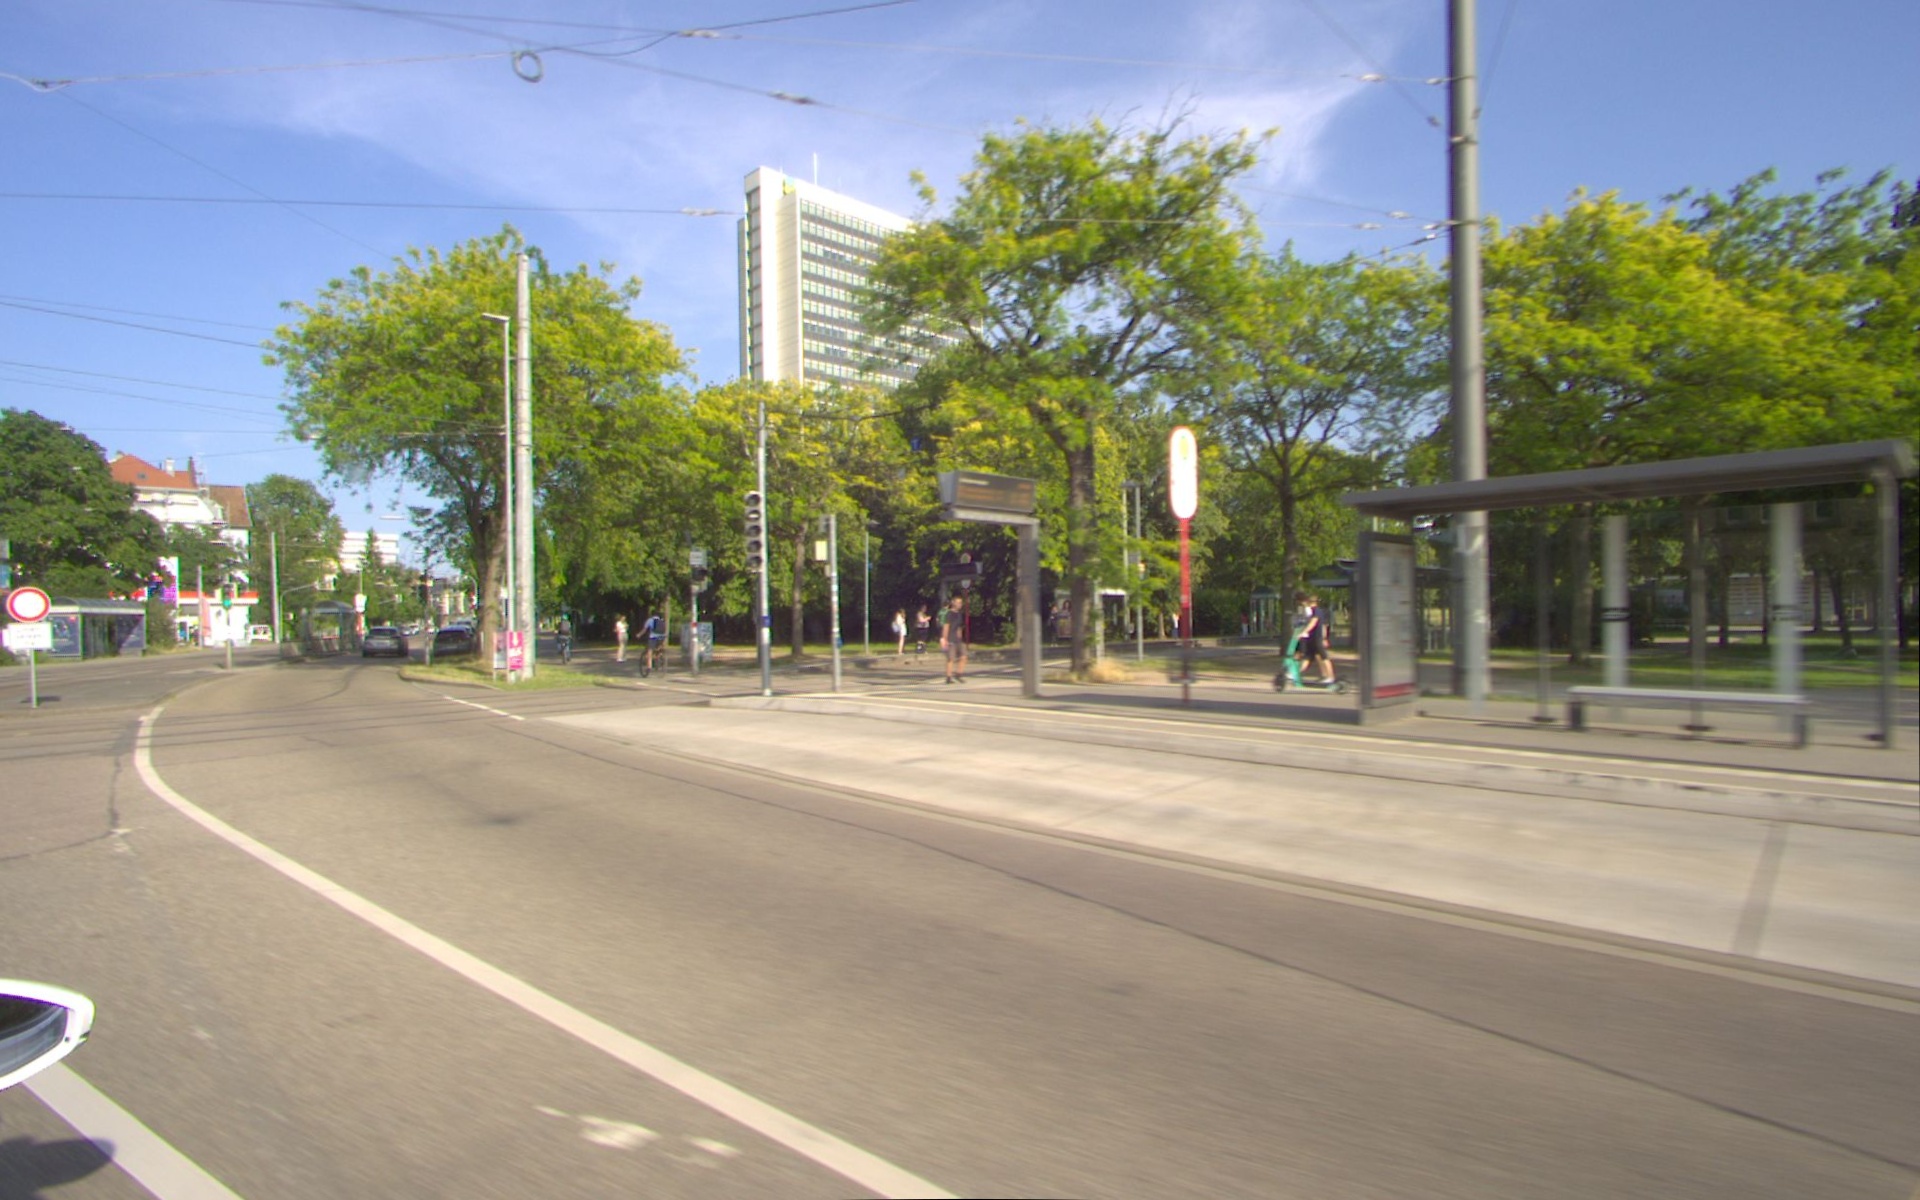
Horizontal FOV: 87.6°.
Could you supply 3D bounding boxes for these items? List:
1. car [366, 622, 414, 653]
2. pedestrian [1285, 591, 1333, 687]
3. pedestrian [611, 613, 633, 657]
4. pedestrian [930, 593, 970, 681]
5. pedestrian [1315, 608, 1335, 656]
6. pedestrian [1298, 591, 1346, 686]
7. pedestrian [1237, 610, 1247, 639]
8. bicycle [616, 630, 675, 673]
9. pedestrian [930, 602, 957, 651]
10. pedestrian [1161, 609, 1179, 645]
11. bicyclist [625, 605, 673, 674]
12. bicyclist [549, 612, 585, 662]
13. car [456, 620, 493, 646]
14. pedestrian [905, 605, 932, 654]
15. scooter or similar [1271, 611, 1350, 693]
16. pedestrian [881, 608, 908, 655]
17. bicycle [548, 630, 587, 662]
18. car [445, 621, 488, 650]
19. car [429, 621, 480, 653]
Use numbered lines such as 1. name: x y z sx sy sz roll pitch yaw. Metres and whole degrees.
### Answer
1. car: -30.803 2.040 54.230 1.812 1.620 3.804 1 -2 -23
2. pedestrian: 7.120 0.790 20.461 0.863 1.921 0.673 0 -2 13
3. pedestrian: -12.937 1.340 38.343 0.634 1.687 0.686 0 0 -34
4. pedestrian: -0.206 0.771 20.850 0.573 1.799 0.582 2 -3 -42
5. pedestrian: 14.328 1.265 39.268 0.599 1.891 0.458 -2 -3 43
6. pedestrian: 7.068 0.749 19.533 0.865 1.799 0.672 0 -2 21
7. pedestrian: 16.552 1.445 58.768 0.479 1.687 0.412 -1 0 38
8. bicycle: -8.478 1.369 26.969 1.919 1.102 0.636 -2 1 43
9. pedestrian: -0.586 0.919 34.851 0.682 1.687 0.638 -1 0 40
10. pedestrian: 10.793 1.405 51.422 0.665 1.822 0.606 2 -3 -36
11. bicyclist: -8.325 1.047 26.793 1.128 1.769 0.645 -1 2 43
12. bicyclist: -14.357 1.344 36.575 1.128 1.769 0.715 -1 2 44
13. car: -31.986 2.150 66.024 1.828 1.535 3.990 -2 0 -21
14. pedestrian: -1.452 1.026 35.083 0.682 1.687 0.638 -1 0 40
15. scooter or similar: 5.418 0.797 15.483 1.117 1.248 0.351 -1 0 26
16. pedestrian: -2.319 1.113 35.468 0.682 1.631 0.638 -1 0 40
17. bicycle: -14.336 1.679 36.577 1.716 1.102 0.636 -2 1 44
18. car: -28.162 2.017 57.245 1.828 1.535 3.990 -2 0 -21
19. car: -26.233 1.869 52.095 1.828 1.535 3.991 -2 0 -20
